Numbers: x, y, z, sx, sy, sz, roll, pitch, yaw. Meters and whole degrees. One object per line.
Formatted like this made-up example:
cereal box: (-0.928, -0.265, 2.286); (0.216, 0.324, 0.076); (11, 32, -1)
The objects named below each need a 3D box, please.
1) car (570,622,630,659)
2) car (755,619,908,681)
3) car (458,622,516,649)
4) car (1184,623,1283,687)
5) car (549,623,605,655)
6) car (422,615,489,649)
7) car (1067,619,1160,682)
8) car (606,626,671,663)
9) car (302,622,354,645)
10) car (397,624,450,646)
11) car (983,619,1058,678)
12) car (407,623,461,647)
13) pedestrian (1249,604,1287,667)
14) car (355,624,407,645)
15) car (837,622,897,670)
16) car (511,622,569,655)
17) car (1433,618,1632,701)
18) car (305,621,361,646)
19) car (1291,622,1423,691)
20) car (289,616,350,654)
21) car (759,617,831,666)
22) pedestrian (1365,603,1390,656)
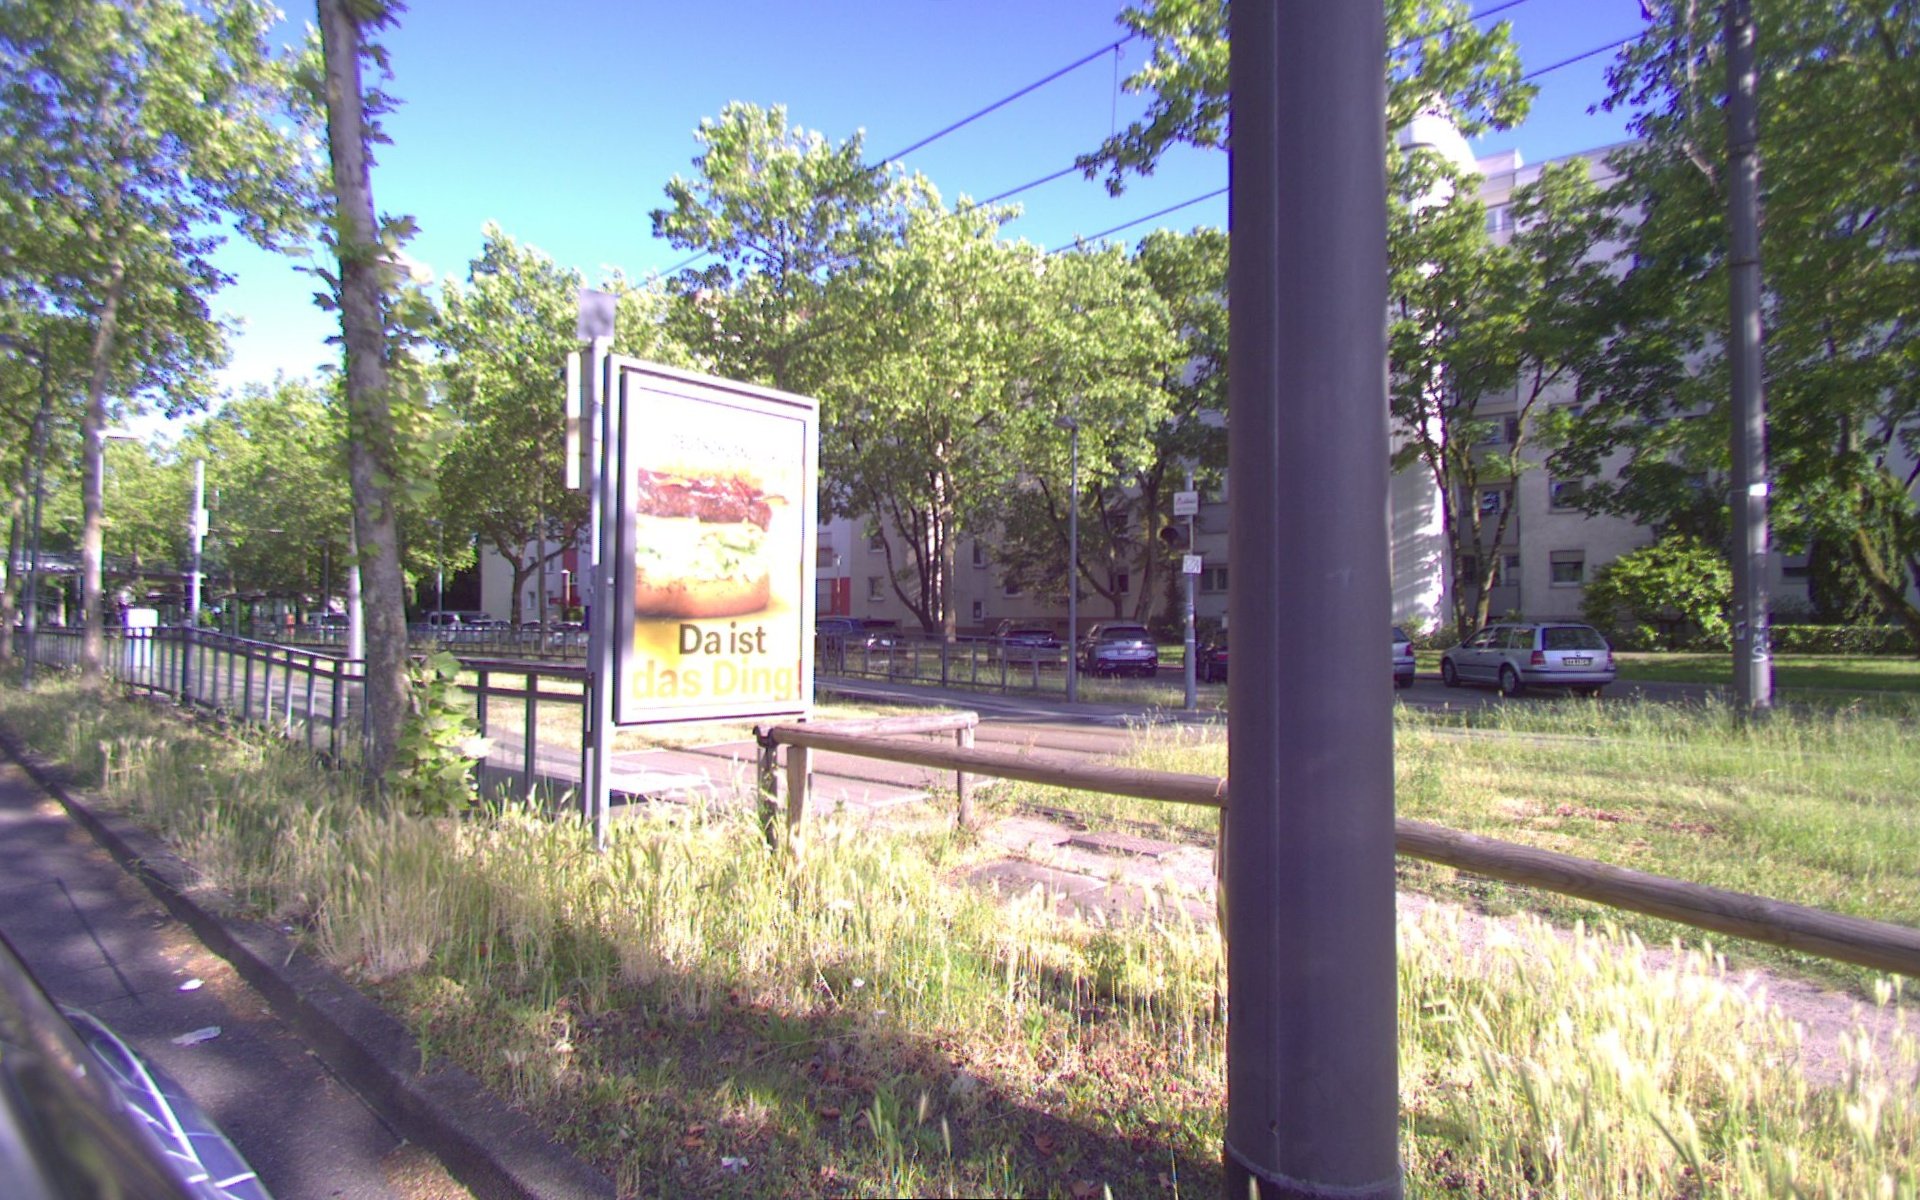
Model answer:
car: (-16.637, 1.856, 46.961); (1.445, 1.519, 3.393); (-1, 0, 3)
car: (-3.465, 1.275, 26.865); (4.100, 1.523, 1.746); (-1, -2, 41)
car: (-25.848, 1.943, 55.430); (1.605, 1.414, 3.488); (0, -1, -1)
car: (6.756, 1.313, 25.367); (1.572, 1.360, 3.922); (-1, 0, 3)
car: (-18.697, 1.886, 49.508); (1.459, 1.339, 3.488); (-2, 0, -1)
car: (-28.435, 1.789, 57.168); (1.843, 1.826, 4.048); (0, -1, -1)
car: (4.120, 1.320, 27.733); (1.650, 1.469, 4.004); (-1, 0, -4)
car: (-14.052, 1.906, 44.387); (1.470, 1.425, 3.880); (-1, 0, 3)
car: (-45.037, 2.364, 72.206); (1.578, 1.538, 3.737); (0, -1, -3)
car: (-33.074, 2.160, 62.440); (1.459, 1.311, 3.488); (0, -1, -1)
car: (1.711, 1.371, 29.801); (1.669, 1.499, 4.003); (-1, 0, -4)
car: (-30.829, 2.059, 59.406); (1.459, 1.354, 3.488); (0, -1, -1)
pedestrian: (8.689, 0.993, 28.574); (0.755, 1.770, 0.752); (-1, -2, 41)
car: (-37.688, 2.251, 65.996); (1.459, 1.330, 3.488); (0, -1, -1)
car: (-3.146, 1.531, 34.731); (1.538, 1.439, 3.761); (-1, 0, 3)
car: (-21.153, 1.928, 51.116); (1.539, 1.436, 3.489); (-3, 0, -2)
car: (11.528, 1.140, 20.720); (1.685, 1.454, 3.978); (-1, 0, -2)
car: (-41.998, 2.224, 67.879); (1.578, 1.582, 3.830); (0, -1, -3)
car: (9.118, 1.260, 23.555); (1.553, 1.431, 3.620); (-1, -1, -1)
car: (-35.480, 1.930, 56.014); (4.652, 2.007, 1.772); (-1, -2, 43)
car: (-5.995, 1.478, 37.218); (1.791, 1.607, 3.997); (-1, 0, 3)
pedestrian: (14.159, 0.996, 34.335); (0.634, 1.770, 0.516); (-1, -2, 39)
